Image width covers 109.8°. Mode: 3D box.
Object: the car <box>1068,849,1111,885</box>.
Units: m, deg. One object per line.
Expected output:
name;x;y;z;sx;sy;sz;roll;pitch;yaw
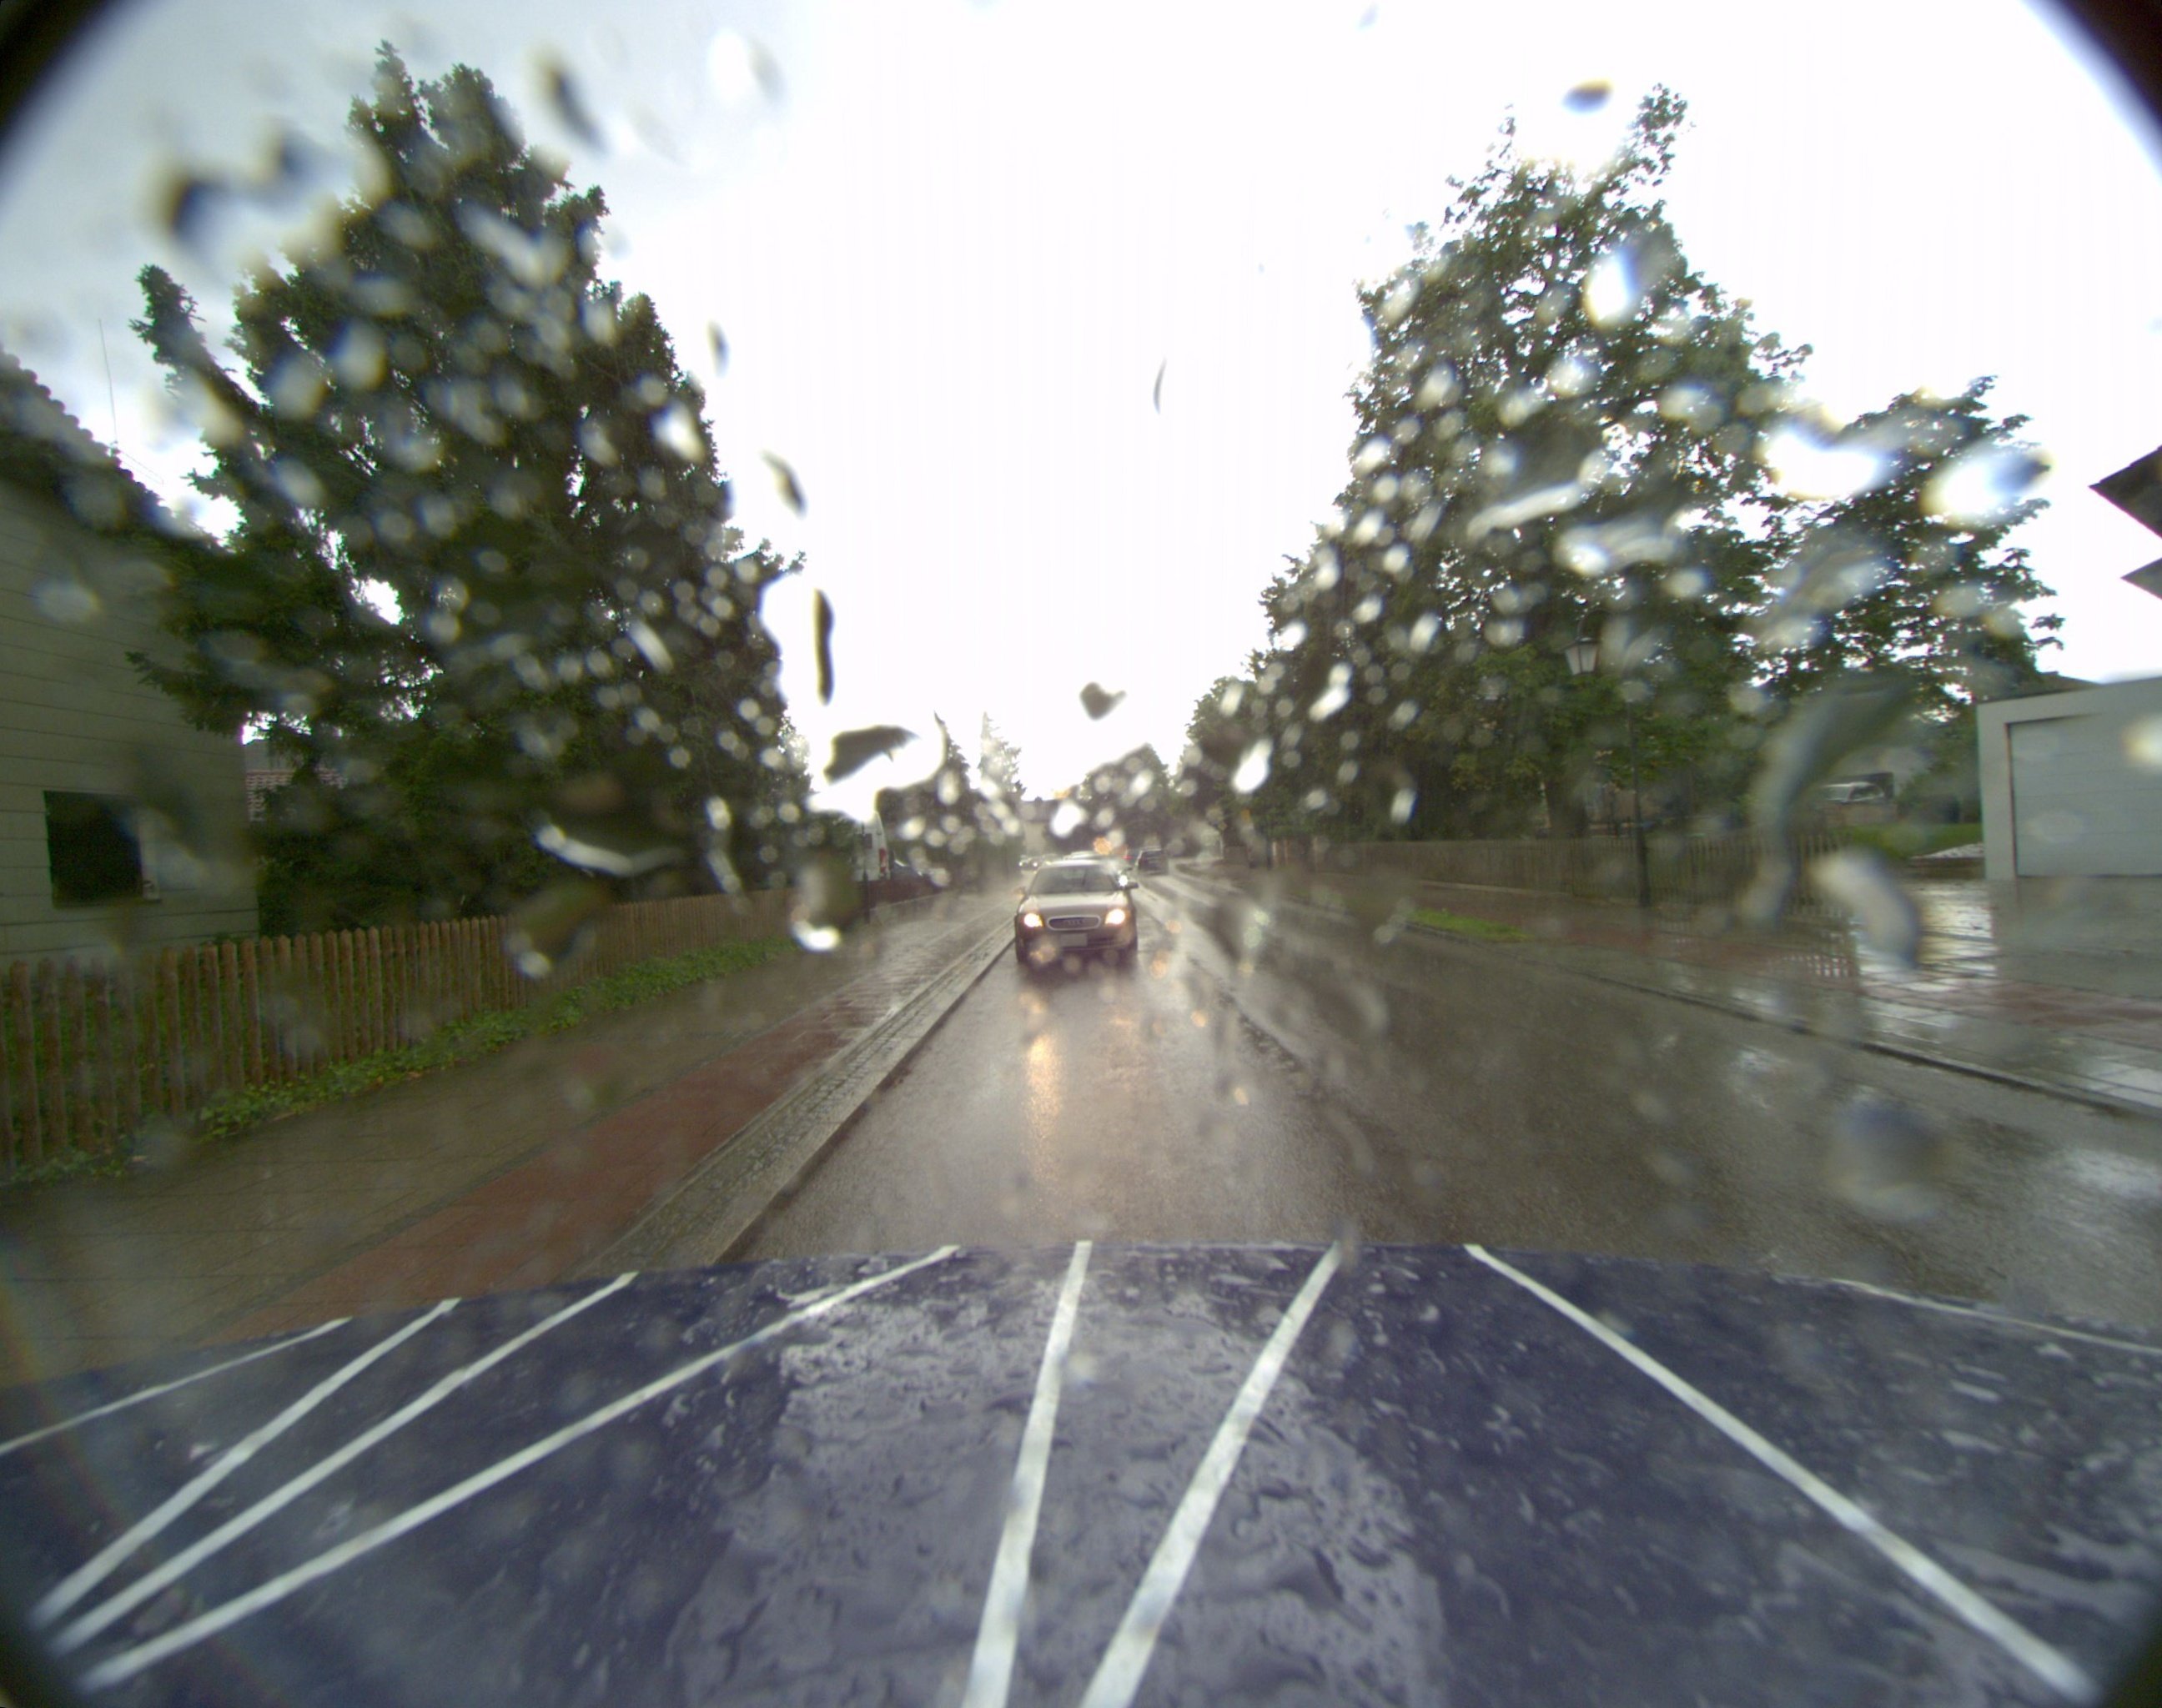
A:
car;0.440;0.591;37.977;1.872;1.512;4.960;-5;1;1

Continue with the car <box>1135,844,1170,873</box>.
car;4.105;0.263;44.250;1.642;1.512;4.188;-4;0;1

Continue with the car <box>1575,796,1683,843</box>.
car;26.112;-1.620;36.327;1.845;1.792;3.649;-6;0;-33

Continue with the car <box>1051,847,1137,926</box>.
car;0.346;0.739;20.117;1.872;1.603;4.960;-5;1;1

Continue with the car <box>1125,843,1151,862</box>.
car;4.830;-0.117;65.222;1.785;1.457;4.374;-4;1;0

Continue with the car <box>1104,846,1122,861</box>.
car;3.376;-0.073;81.133;1.712;1.457;4.000;-4;1;1

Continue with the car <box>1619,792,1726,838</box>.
car;28.944;-1.898;37.269;1.845;1.792;3.649;-6;0;-33

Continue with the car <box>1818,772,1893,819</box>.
car;40.810;-3.051;40.011;3.857;2.281;1.782;-3;1;-29

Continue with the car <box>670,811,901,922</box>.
car;-7.574;0.286;20.010;5.321;2.712;1.998;0;1;-8

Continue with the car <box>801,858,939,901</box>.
car;-7.309;0.856;26.701;4.443;1.413;1.829;0;1;-7

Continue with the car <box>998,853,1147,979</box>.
car;-0.073;0.809;11.992;1.872;1.512;4.188;-3;1;1
